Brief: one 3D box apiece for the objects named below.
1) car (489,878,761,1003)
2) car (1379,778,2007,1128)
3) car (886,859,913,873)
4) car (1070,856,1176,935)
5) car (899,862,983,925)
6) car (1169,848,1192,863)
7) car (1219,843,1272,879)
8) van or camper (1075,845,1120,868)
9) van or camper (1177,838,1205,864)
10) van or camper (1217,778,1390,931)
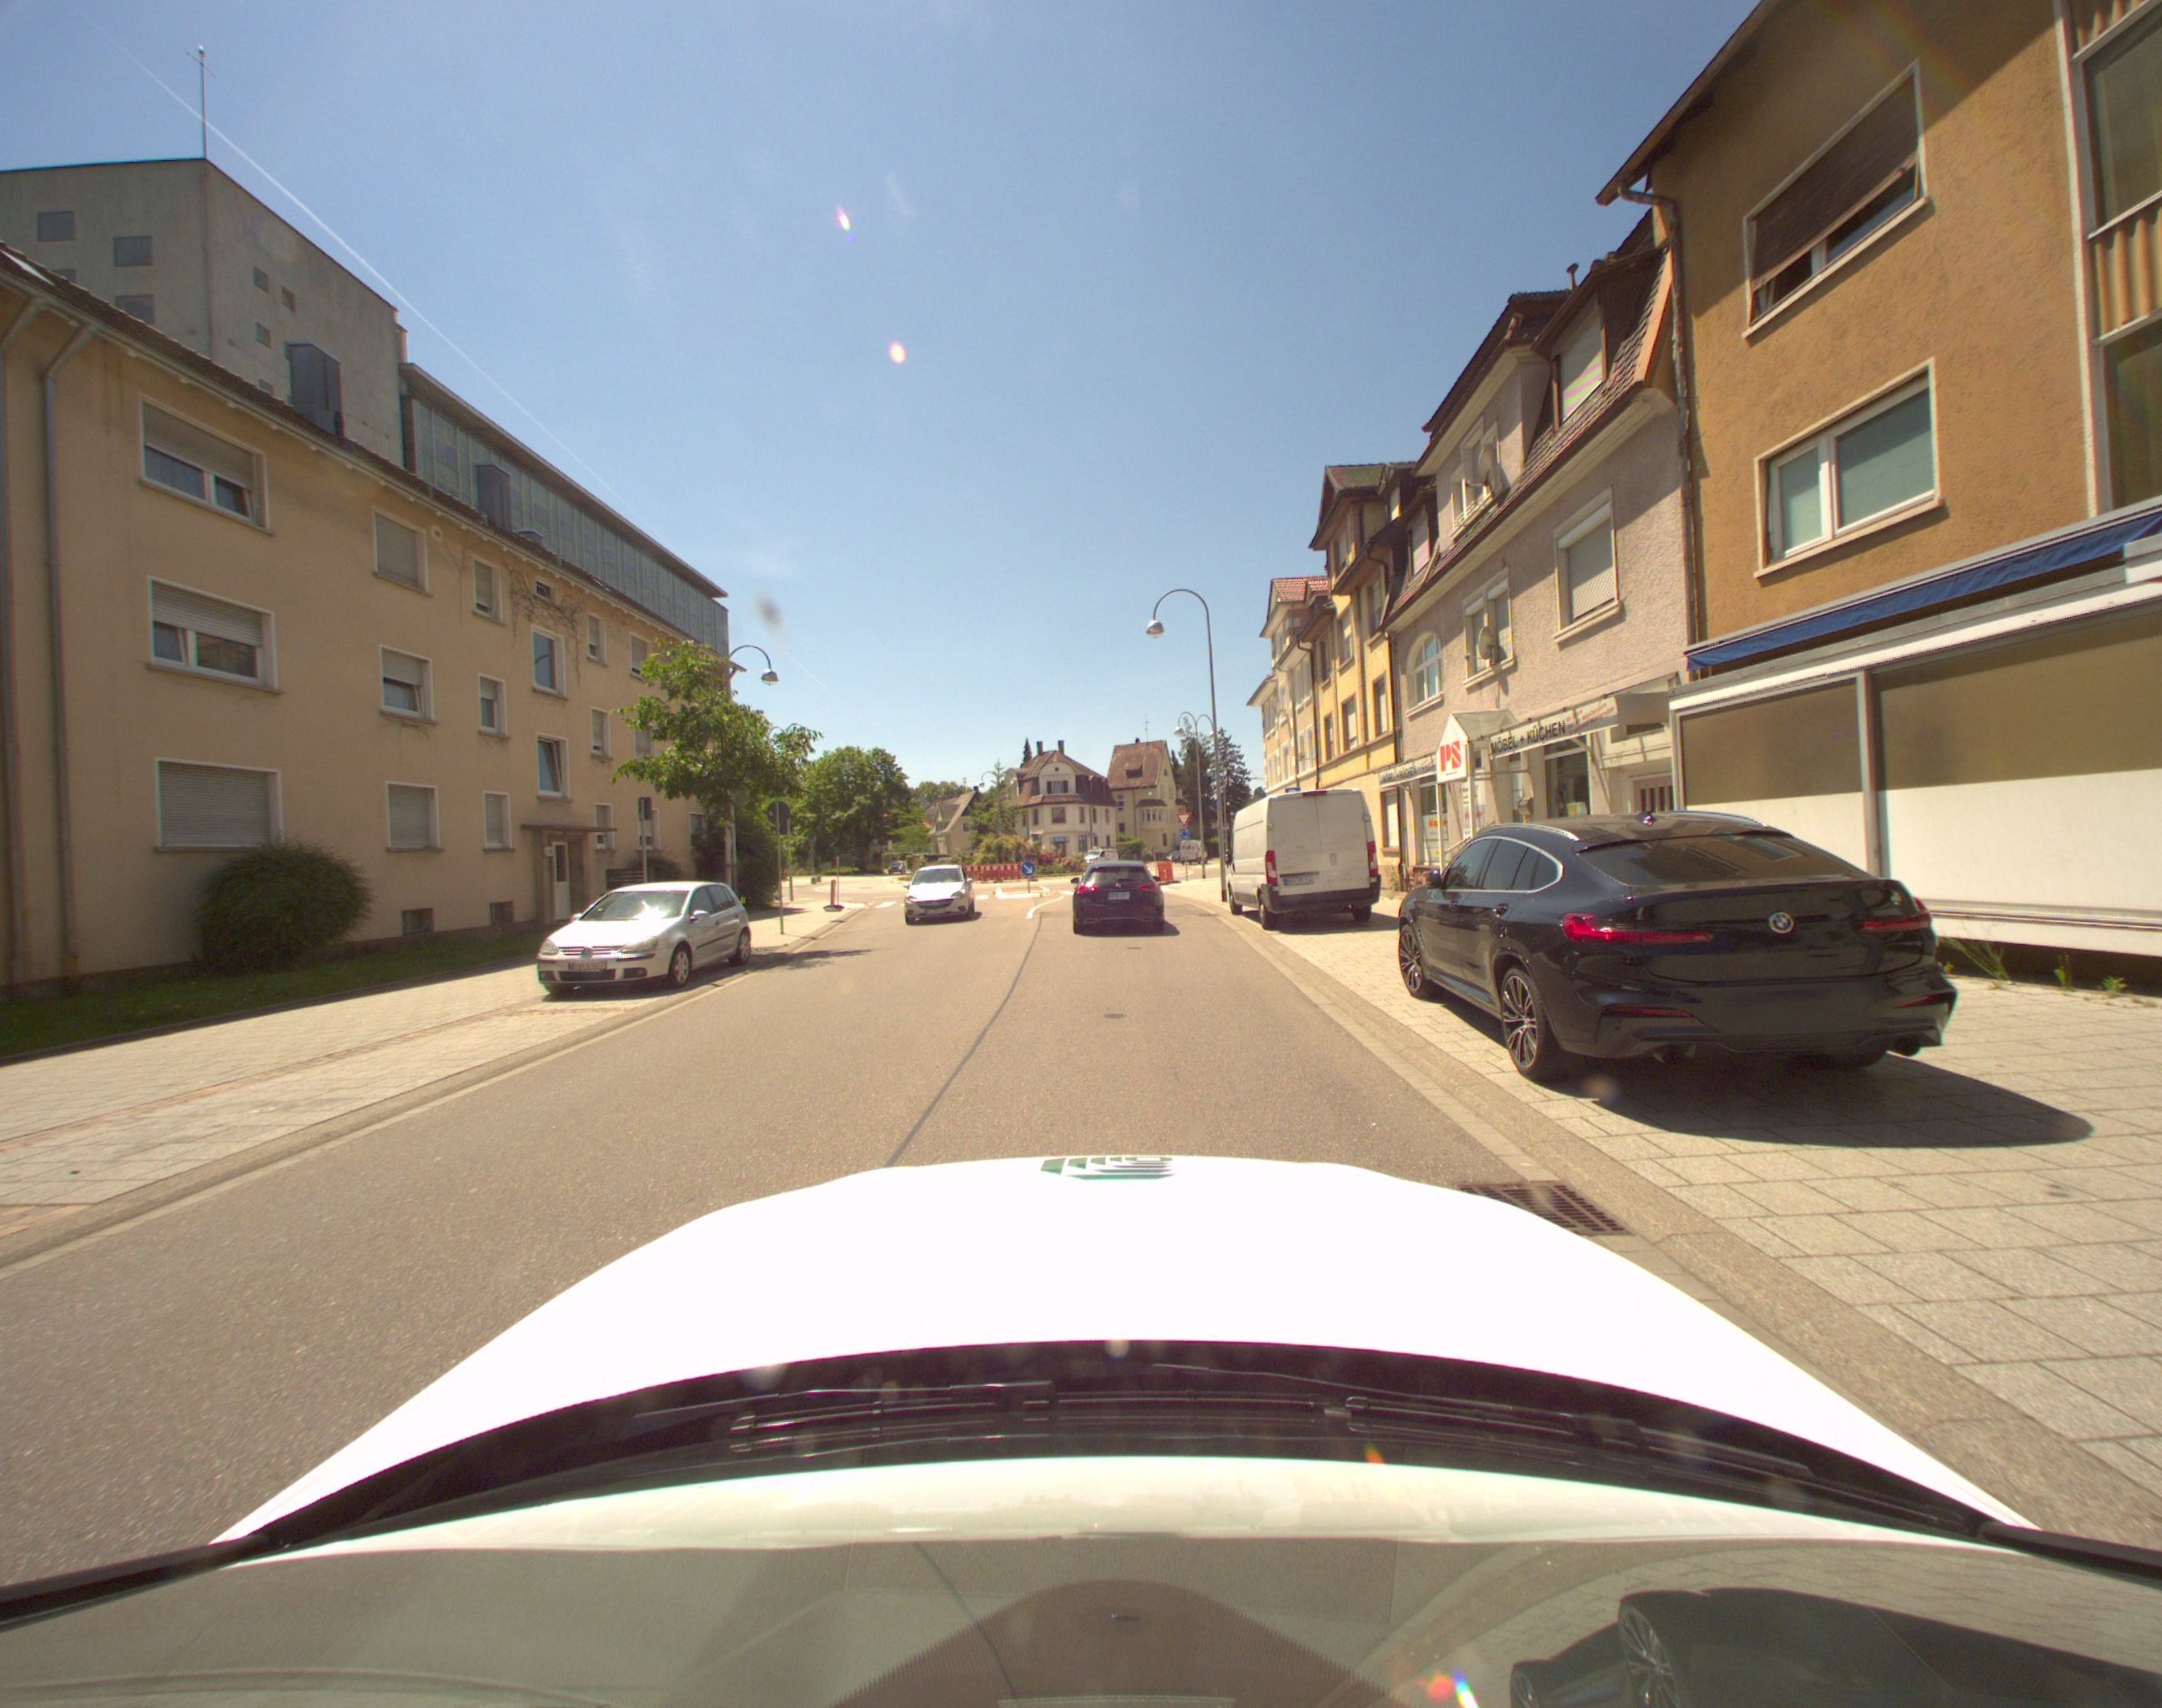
[{"bbox_3d":[-6.562,1.147,12.348,1.990,1.420,4.082,-2,-1,-4],"label":"car"},{"bbox_3d":[3.730,0.511,6.147,1.884,1.607,4.376,-4,-1,9],"label":"car"},{"bbox_3d":[-21.914,1.456,98.398,1.773,1.597,3.932,-2,-3,11],"label":"car"},{"bbox_3d":[0.815,0.795,17.231,1.946,1.427,4.000,-1,-1,1],"label":"car"},{"bbox_3d":[-3.779,1.016,22.567,1.655,1.496,3.757,-3,0,-1],"label":"car"},{"bbox_3d":[11.903,0.174,97.194,1.904,1.772,4.020,-1,0,20],"label":"car"},{"bbox_3d":[7.935,0.331,39.666,1.757,1.530,4.693,-4,0,3],"label":"car"},{"bbox_3d":[1.657,0.240,78.908,1.974,2.172,5.447,-2,-1,30],"label":"van or camper"},{"bbox_3d":[11.897,-0.322,88.161,2.188,2.610,4.019,-2,0,18],"label":"van or camper"},{"bbox_3d":[4.453,0.013,17.430,2.157,2.589,5.768,-4,0,2],"label":"van or camper"}]
